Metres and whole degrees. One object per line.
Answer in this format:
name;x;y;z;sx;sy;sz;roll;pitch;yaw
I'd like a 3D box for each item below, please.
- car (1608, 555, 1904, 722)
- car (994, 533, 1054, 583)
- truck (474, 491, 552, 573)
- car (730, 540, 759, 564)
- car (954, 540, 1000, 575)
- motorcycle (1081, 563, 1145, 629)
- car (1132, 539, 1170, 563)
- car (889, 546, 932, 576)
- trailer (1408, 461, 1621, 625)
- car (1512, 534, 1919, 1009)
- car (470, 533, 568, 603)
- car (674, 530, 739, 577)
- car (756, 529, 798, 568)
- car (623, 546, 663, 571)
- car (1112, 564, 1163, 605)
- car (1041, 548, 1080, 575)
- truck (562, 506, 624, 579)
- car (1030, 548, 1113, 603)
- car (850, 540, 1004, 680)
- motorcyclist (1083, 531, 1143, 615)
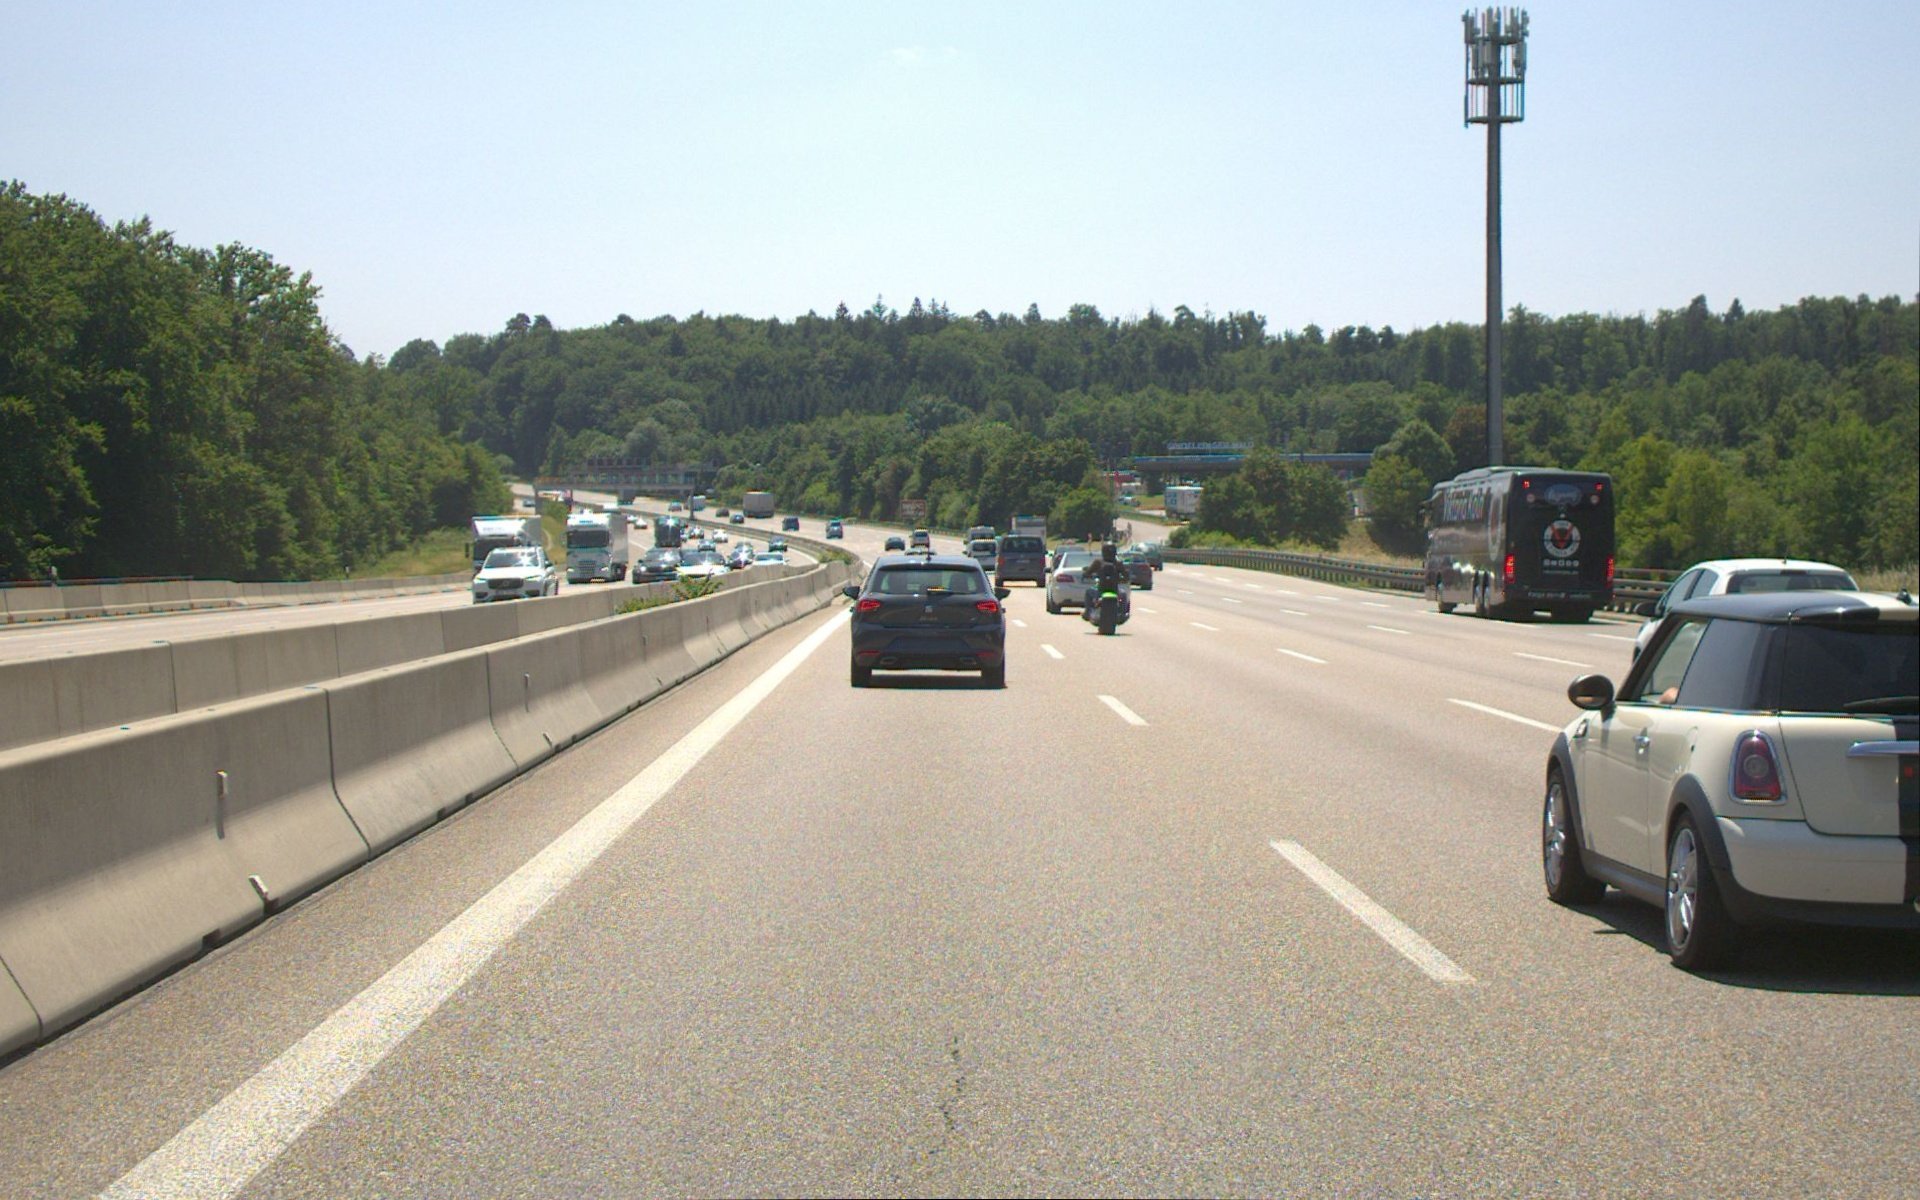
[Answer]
car;7.372;0.306;32.234;1.666;1.428;4.376;0;1;-1
car;2.420;-1.615;131.631;2.097;1.845;4.081;0;1;-2
truck;-20.439;-3.119;157.596;2.539;3.558;8.578;-2;1;-1
car;-15.437;-3.439;246.246;1.798;1.637;5.080;0;1;-1
car;0.892;-2.233;179.868;1.993;1.678;4.425;1;2;-5
motorcycle;2.692;-0.080;60.797;0.977;1.125;2.271;1;0;-1
car;9.698;-2.501;174.731;1.608;1.208;3.460;-1;1;-2
car;-2.066;-1.623;142.847;1.536;1.208;3.461;-1;1;-5
trailer;13.442;-1.378;84.633;2.857;3.675;13.543;-1;1;-1
car;3.465;0.559;13.750;1.841;1.546;4.000;1;2;0
car;-11.969;-0.893;93.642;1.993;1.781;5.319;-2;1;-1
car;-8.606;-1.596;117.255;1.848;1.518;5.319;-2;1;-1
car;-9.429;-2.682;177.319;1.774;1.873;5.210;1;2;1
car;-17.271;-2.277;187.619;1.798;1.371;4.532;0;1;-1
car;6.549;-0.586;127.257;1.675;1.427;3.685;0;1;0
car;4.760;-1.841;163.475;1.608;1.208;3.460;-1;1;-2
truck;-21.181;-3.329;198.754;2.715;4.085;7.877;-2;1;-1
car;2.597;-0.588;80.448;1.782;1.261;3.460;0;1;-1
car;-0.365;0.119;38.677;1.624;1.482;3.685;1;0;0
motorcyclist;2.692;-0.478;60.637;0.962;1.432;1.235;-2;2;-1
